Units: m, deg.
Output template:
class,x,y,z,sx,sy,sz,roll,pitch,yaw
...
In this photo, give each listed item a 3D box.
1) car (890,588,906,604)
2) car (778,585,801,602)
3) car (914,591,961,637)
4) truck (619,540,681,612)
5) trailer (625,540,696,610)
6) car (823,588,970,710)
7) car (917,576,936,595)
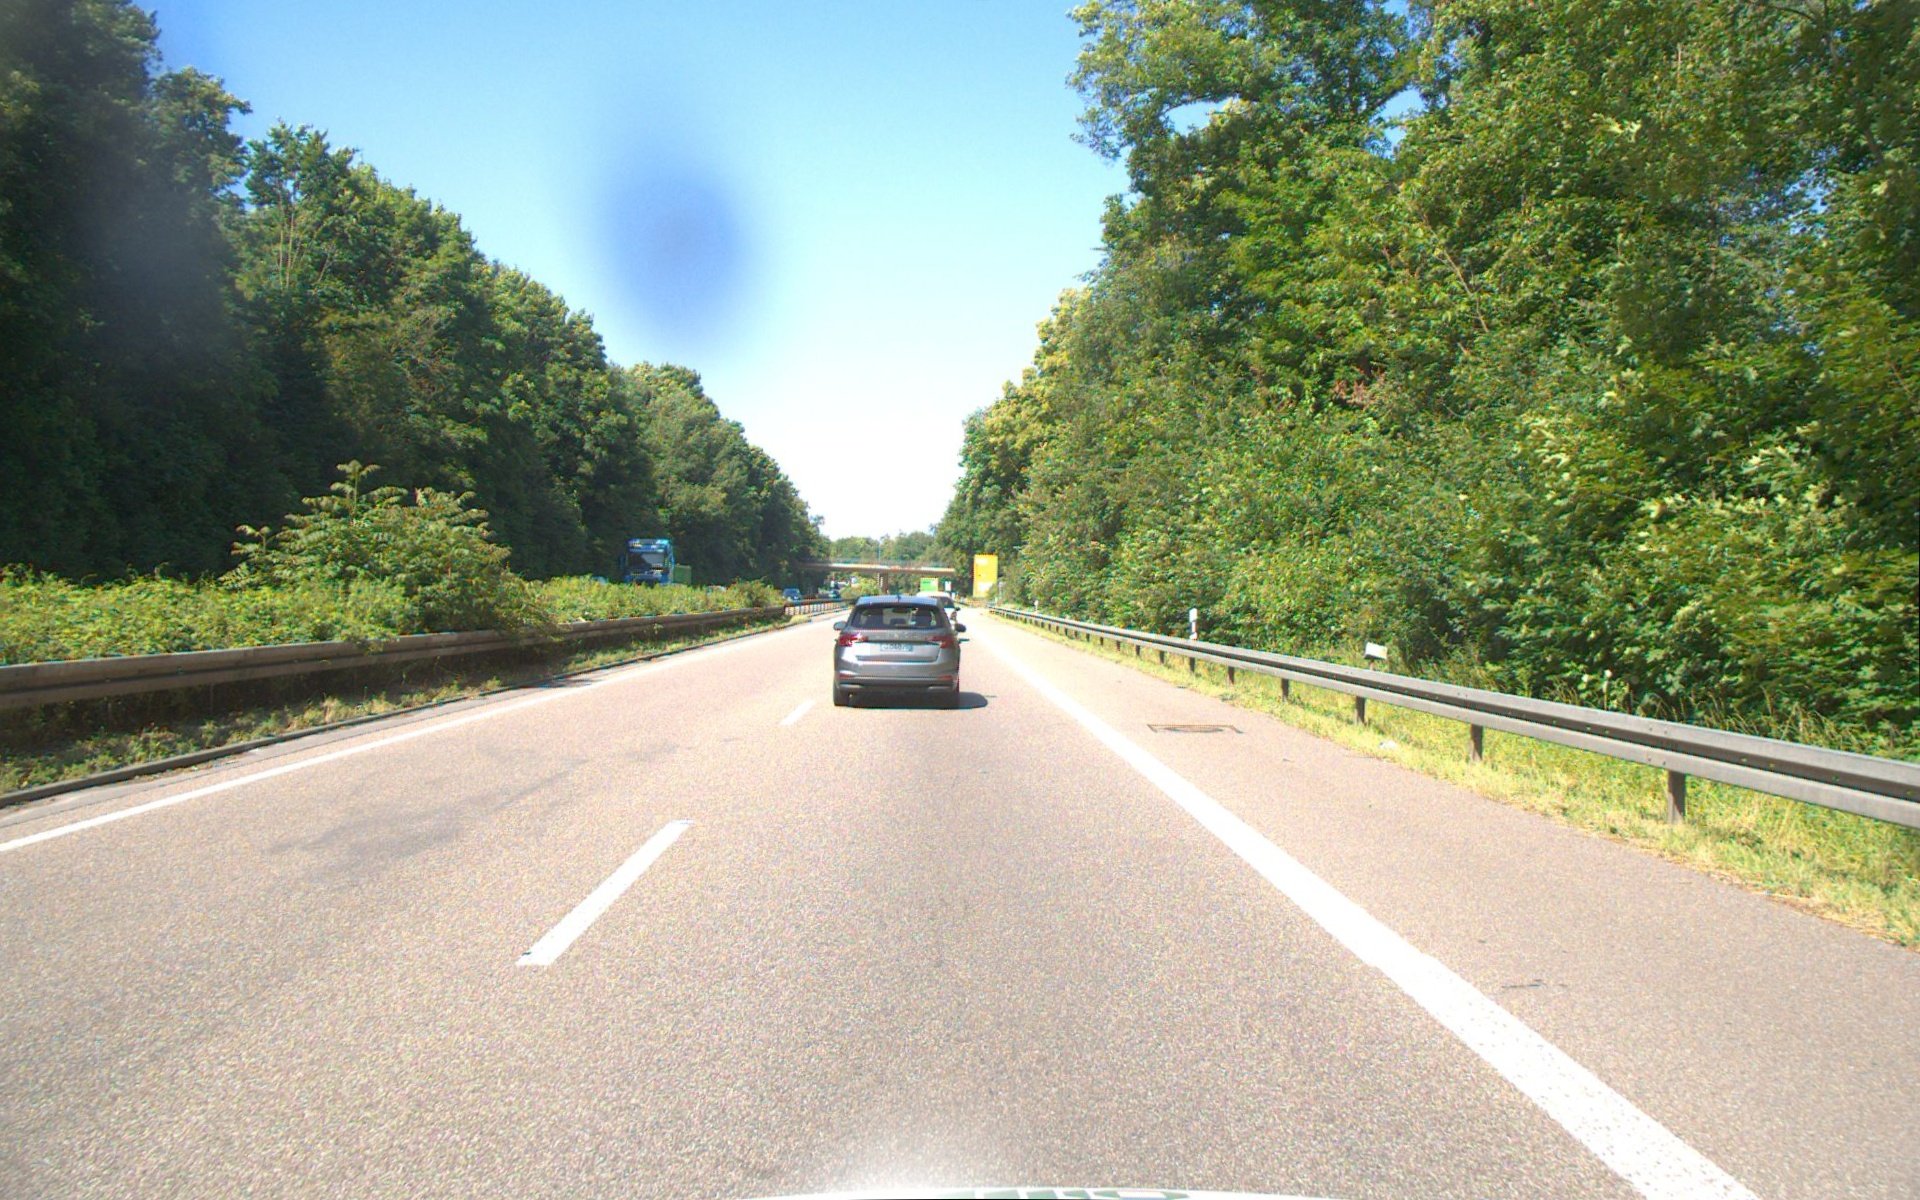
class,x,y,z,sx,sy,sz,roll,pitch,yaw
car,-8.325,-0.564,222.545,1.953,2.049,3.999,1,0,-1
car,-15.204,-0.582,147.407,1.638,1.499,3.623,1,0,1
car,-0.725,0.447,55.674,1.491,1.472,3.340,1,0,1
truck,-16.989,-1.291,90.854,2.592,3.771,3.999,1,0,-1
trailer,-17.105,-1.363,95.017,2.633,3.777,7.982,1,0,-1
car,-0.793,0.606,22.593,1.802,1.497,3.624,1,0,1
car,-4.865,-2.098,243.337,2.693,2.700,3.999,1,0,-1
